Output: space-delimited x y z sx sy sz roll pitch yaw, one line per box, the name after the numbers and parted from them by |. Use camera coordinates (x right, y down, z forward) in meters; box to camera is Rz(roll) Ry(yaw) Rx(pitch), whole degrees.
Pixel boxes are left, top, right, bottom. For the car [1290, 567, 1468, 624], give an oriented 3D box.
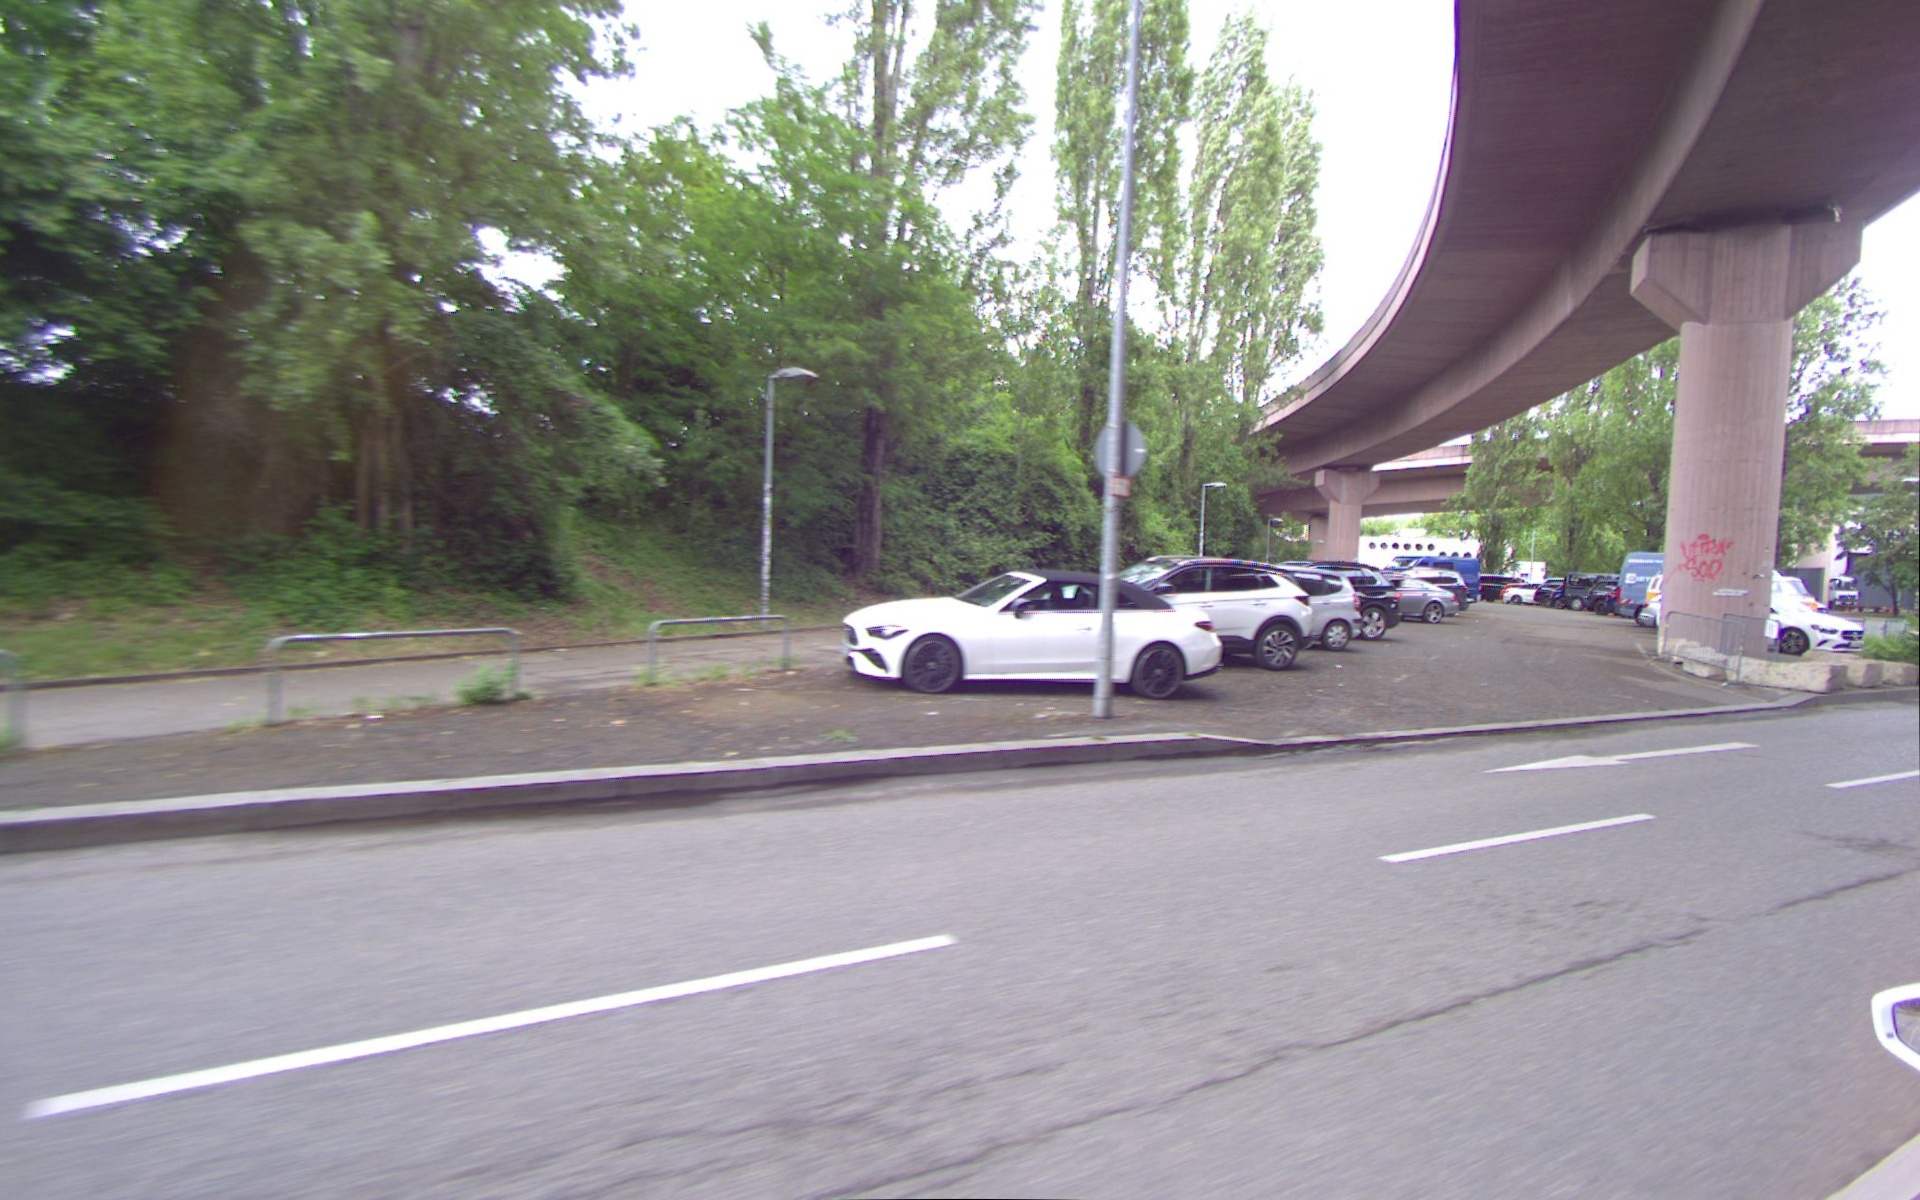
12.814 -0.150 30.803 4.804 1.508 1.858 1 4 -13 | car

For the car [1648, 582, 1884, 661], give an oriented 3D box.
20.943 0.493 26.340 1.927 1.628 4.369 1 4 -23 | car

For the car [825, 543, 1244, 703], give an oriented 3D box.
0.860 0.270 12.586 4.750 1.499 1.993 4 5 -16 | car

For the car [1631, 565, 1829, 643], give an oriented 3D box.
24.122 0.058 31.679 1.827 2.140 4.537 1 3 -27 | car

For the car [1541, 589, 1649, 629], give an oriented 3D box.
29.525 0.401 46.743 3.943 1.753 1.989 2 1 43 | car

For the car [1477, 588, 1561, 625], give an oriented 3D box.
33.168 0.373 59.632 3.943 2.041 1.989 2 1 43 | car

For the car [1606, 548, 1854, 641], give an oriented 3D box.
25.837 -0.289 34.045 2.340 2.762 6.143 1 3 -31 | car

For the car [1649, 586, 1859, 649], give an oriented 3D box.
22.674 0.450 28.884 1.973 1.390 4.230 1 4 -25 | car

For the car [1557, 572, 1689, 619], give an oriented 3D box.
33.519 -0.260 50.953 2.235 2.099 5.061 2 1 -32 | car

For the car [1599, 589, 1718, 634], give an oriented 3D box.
29.949 0.471 43.135 3.943 1.763 2.010 2 1 43 | car

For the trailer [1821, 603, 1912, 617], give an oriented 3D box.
64.709 0.691 71.884 2.112 0.753 6.296 -1 1 14 | trailer

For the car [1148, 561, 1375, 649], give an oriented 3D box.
5.680 0.071 19.086 3.682 1.473 1.788 2 2 -13 | car

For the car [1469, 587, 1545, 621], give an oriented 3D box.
35.659 0.249 65.534 3.943 2.041 1.989 2 1 43 | car

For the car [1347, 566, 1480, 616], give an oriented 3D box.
16.660 -0.319 36.985 4.080 1.698 1.897 1 1 -11 | car

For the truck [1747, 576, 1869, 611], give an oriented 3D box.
67.115 -0.556 79.735 2.677 2.586 7.212 1 1 -12 | truck

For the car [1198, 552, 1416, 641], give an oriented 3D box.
7.574 -0.086 22.054 4.092 1.714 1.858 2 2 -13 | car

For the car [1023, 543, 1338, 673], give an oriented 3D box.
3.410 0.101 15.860 4.328 1.604 1.993 3 5 -15 | car

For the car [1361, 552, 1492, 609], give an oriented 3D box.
20.180 -0.821 43.488 4.935 2.285 2.117 1 1 -16 | car
